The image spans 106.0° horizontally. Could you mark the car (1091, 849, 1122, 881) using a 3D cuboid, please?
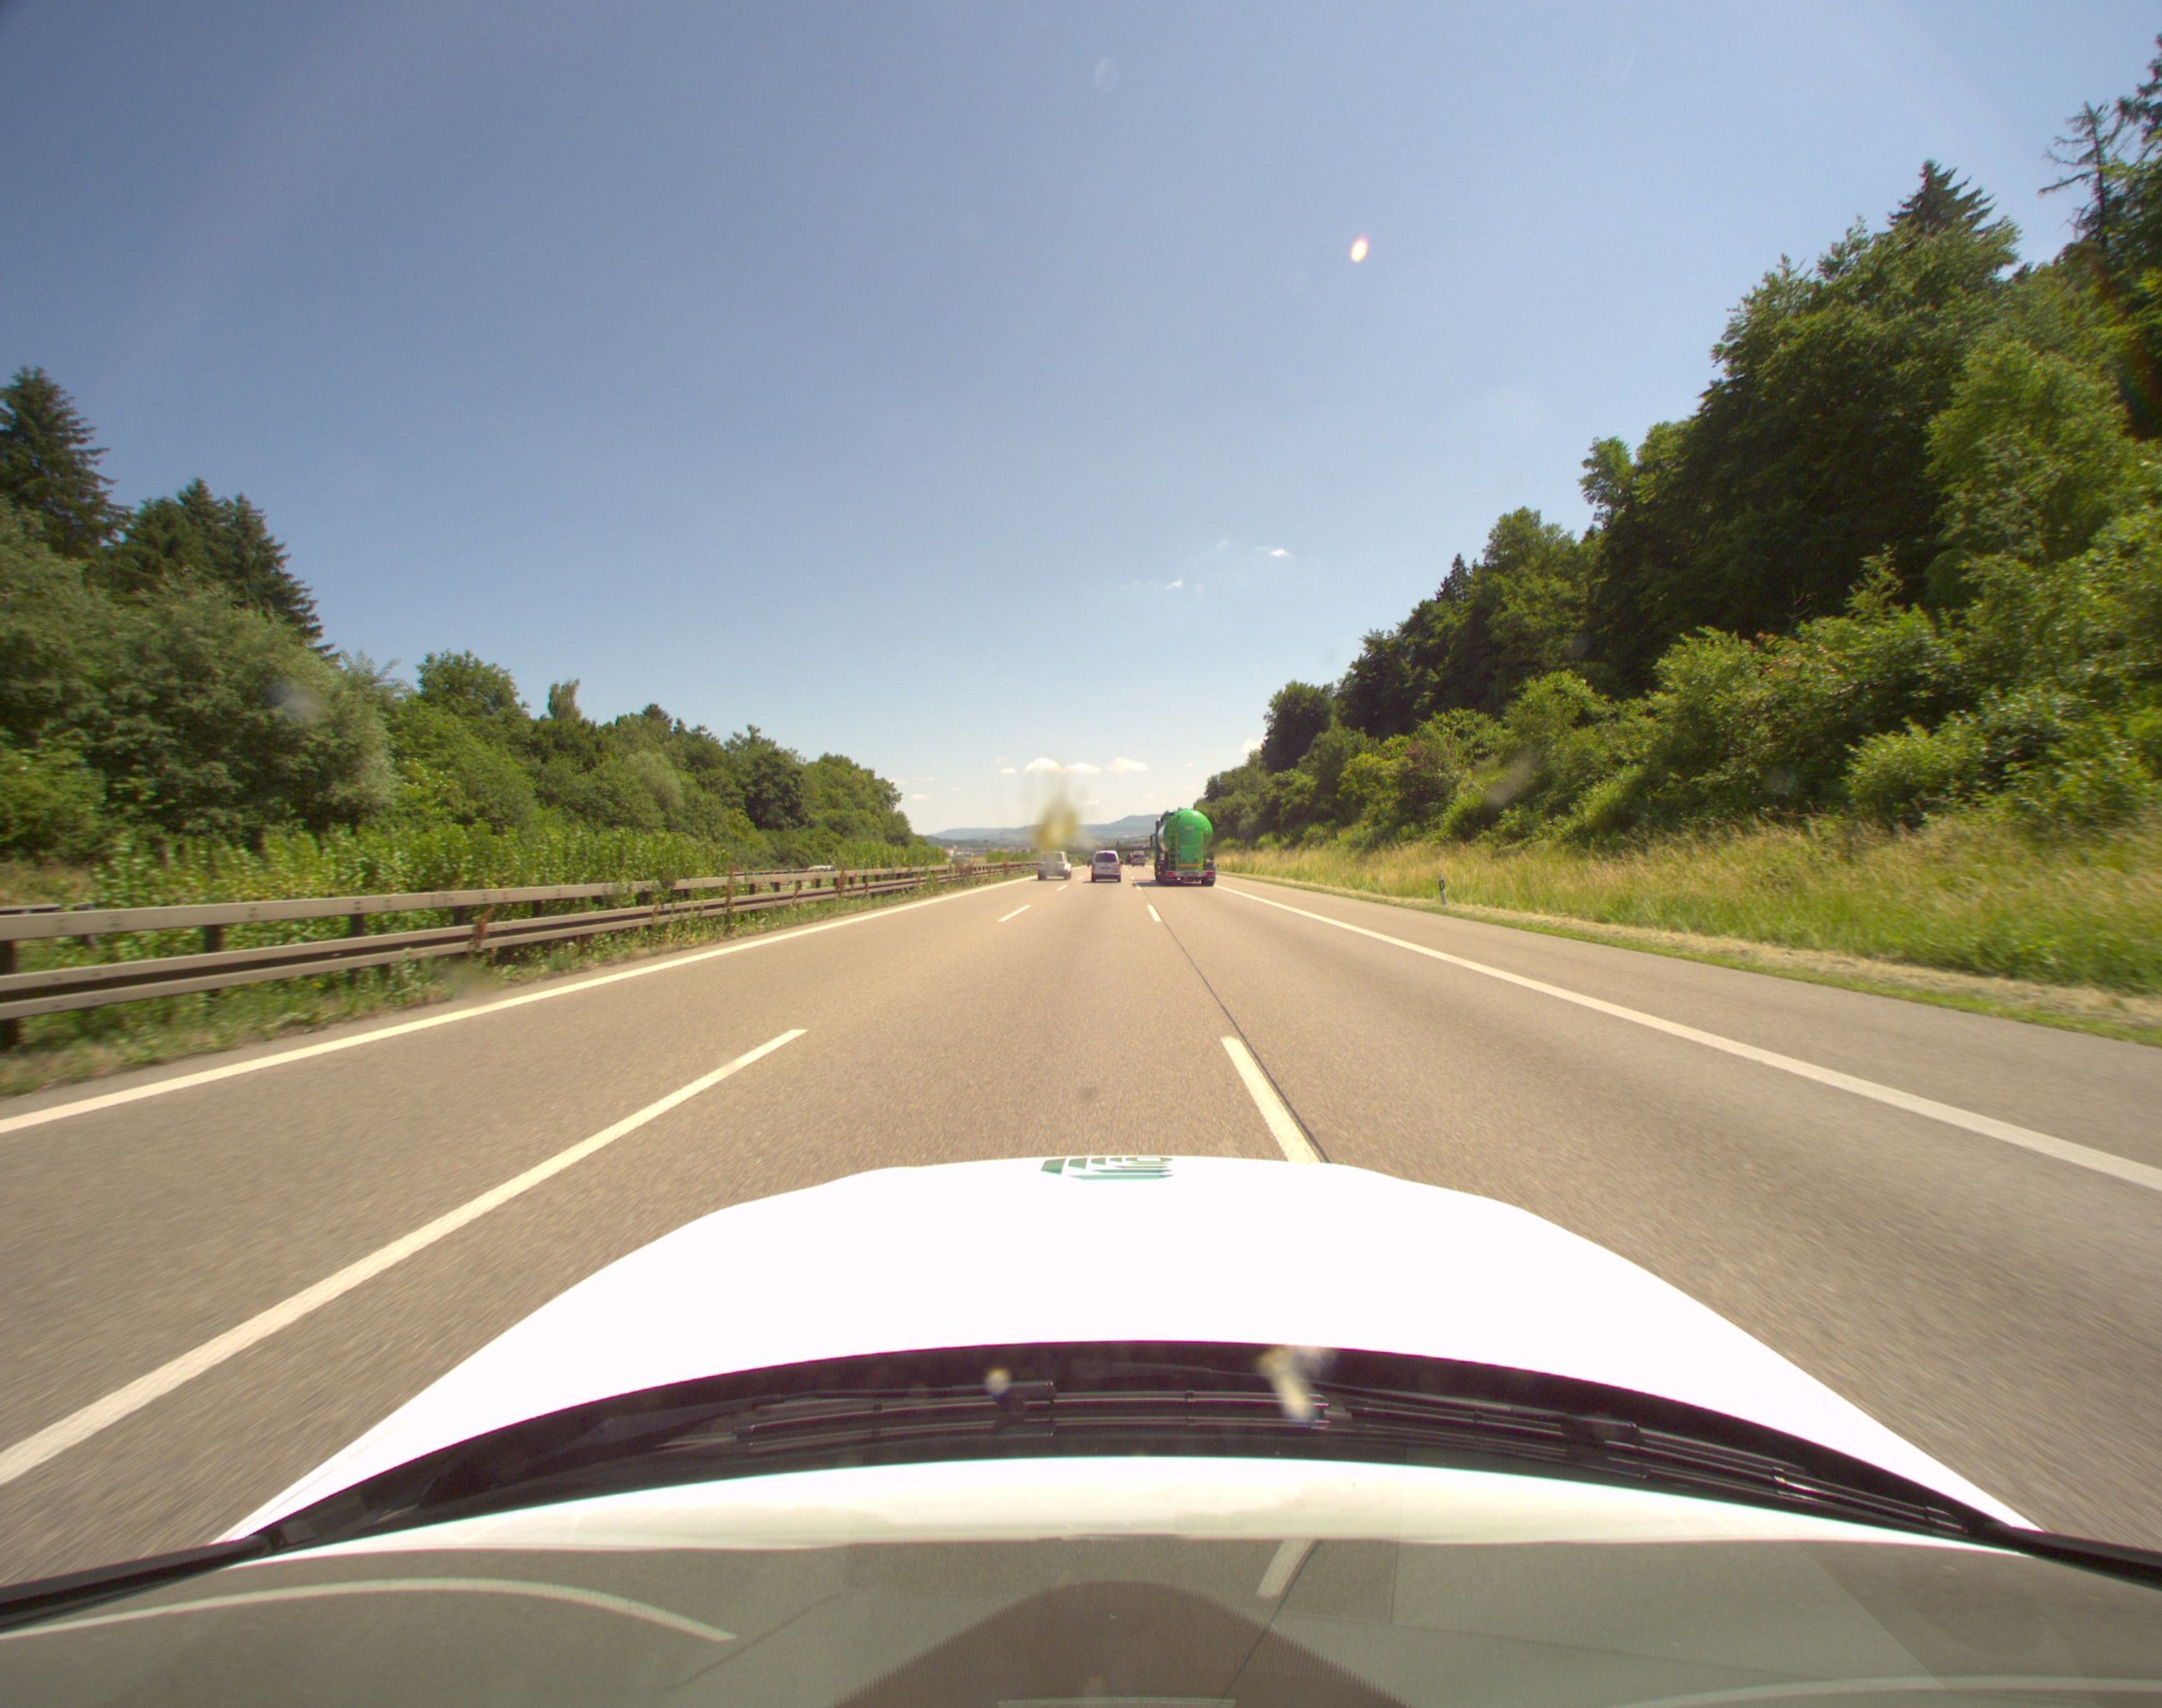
[{"bbox_3d":[1.512,0.611,48.884,1.739,1.829,4.802,0,0,1],"label":"car"}]

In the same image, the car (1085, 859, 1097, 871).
[{"bbox_3d":[1.794,1.916,143.095,1.985,2.013,4.003,0,0,3],"label":"car"}]

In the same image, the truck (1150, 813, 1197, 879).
[{"bbox_3d":[5.623,-0.461,50.151,2.500,3.842,4.894,0,0,1],"label":"truck"}]

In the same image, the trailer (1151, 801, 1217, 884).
[{"bbox_3d":[5.478,-0.562,44.901,2.578,4.028,10.473,0,0,1],"label":"trailer"}]

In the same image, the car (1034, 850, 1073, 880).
[{"bbox_3d":[-1.742,0.688,53.067,2.074,1.829,4.759,0,0,4],"label":"car"}]

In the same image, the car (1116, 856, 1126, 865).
[{"bbox_3d":[6.719,1.102,137.442,1.439,1.550,3.361,0,0,6],"label":"car"}]

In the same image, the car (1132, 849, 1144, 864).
[{"bbox_3d":[9.698,0.426,138.864,2.080,2.576,6.628,0,0,4],"label":"car"}]
